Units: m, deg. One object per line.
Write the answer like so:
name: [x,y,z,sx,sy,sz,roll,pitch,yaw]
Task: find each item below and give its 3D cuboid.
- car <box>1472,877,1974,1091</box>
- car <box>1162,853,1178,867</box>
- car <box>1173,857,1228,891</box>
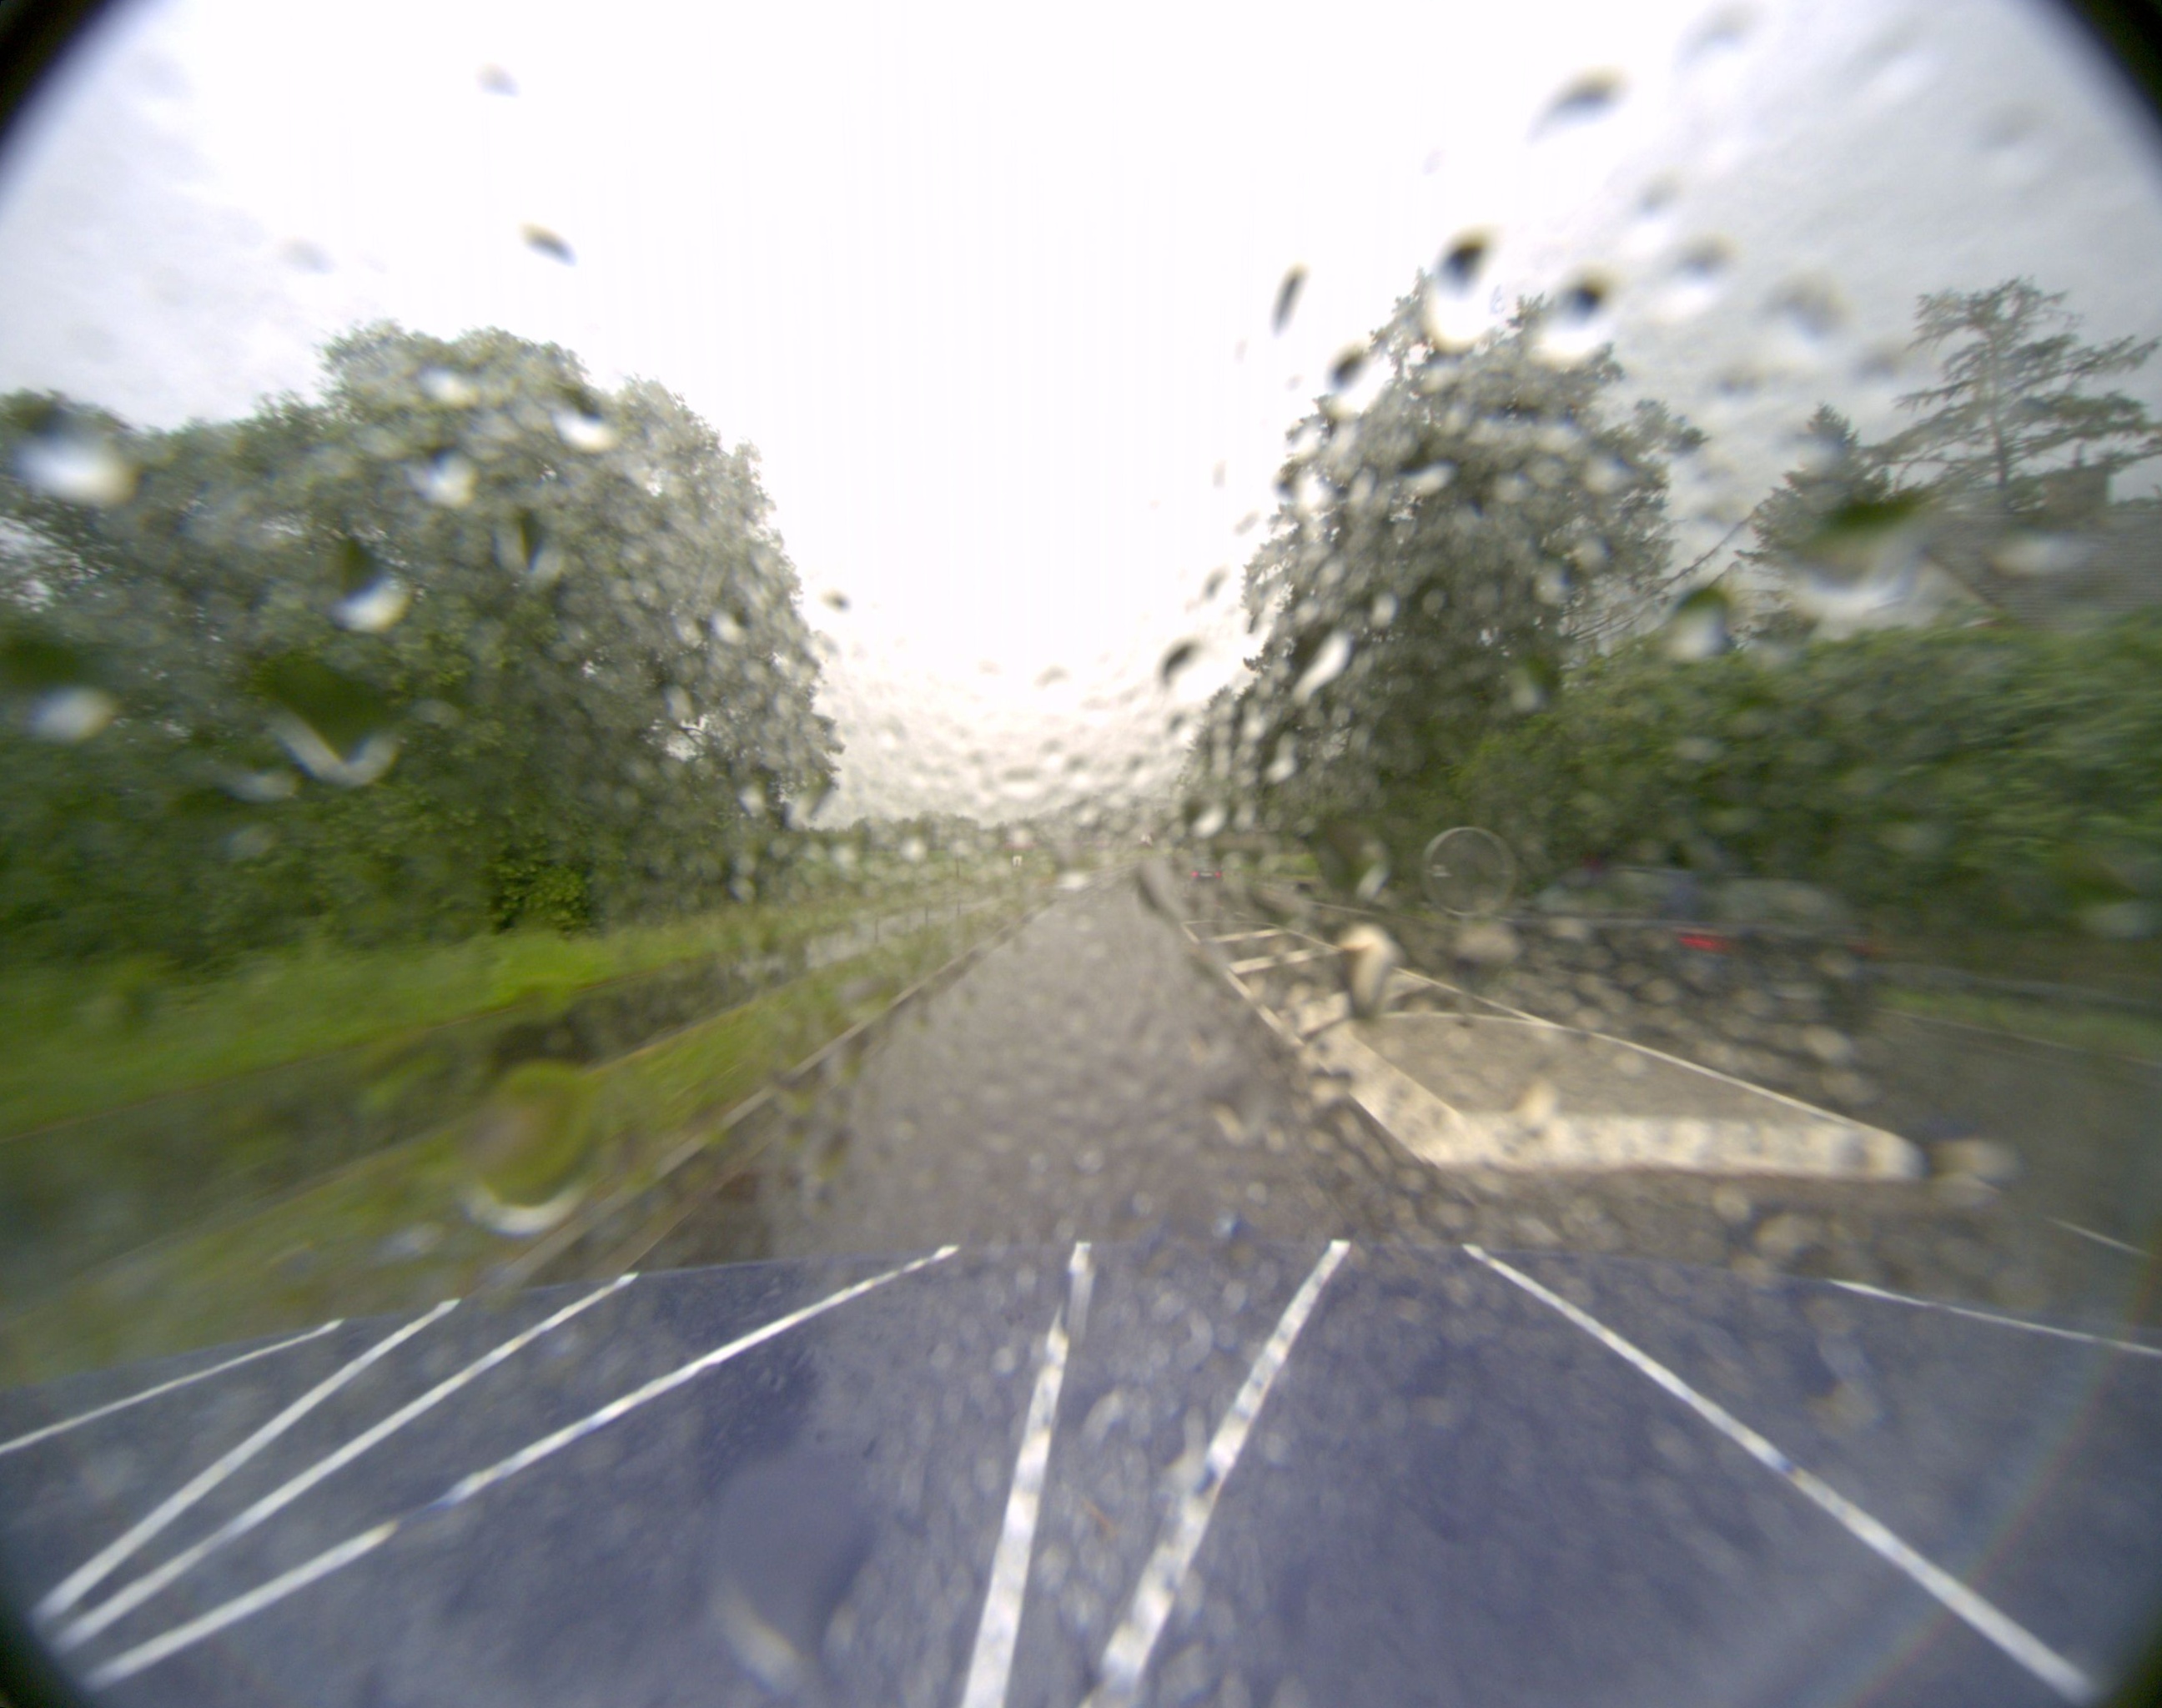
car: [5.672,1.010,7.430,1.746,1.437,3.682,1,0,0]
car: [10.103,0.701,86.646,1.764,1.543,4.003,0,-1,5]
car: [5.278,0.848,34.028,1.687,1.374,4.224,2,0,-1]
